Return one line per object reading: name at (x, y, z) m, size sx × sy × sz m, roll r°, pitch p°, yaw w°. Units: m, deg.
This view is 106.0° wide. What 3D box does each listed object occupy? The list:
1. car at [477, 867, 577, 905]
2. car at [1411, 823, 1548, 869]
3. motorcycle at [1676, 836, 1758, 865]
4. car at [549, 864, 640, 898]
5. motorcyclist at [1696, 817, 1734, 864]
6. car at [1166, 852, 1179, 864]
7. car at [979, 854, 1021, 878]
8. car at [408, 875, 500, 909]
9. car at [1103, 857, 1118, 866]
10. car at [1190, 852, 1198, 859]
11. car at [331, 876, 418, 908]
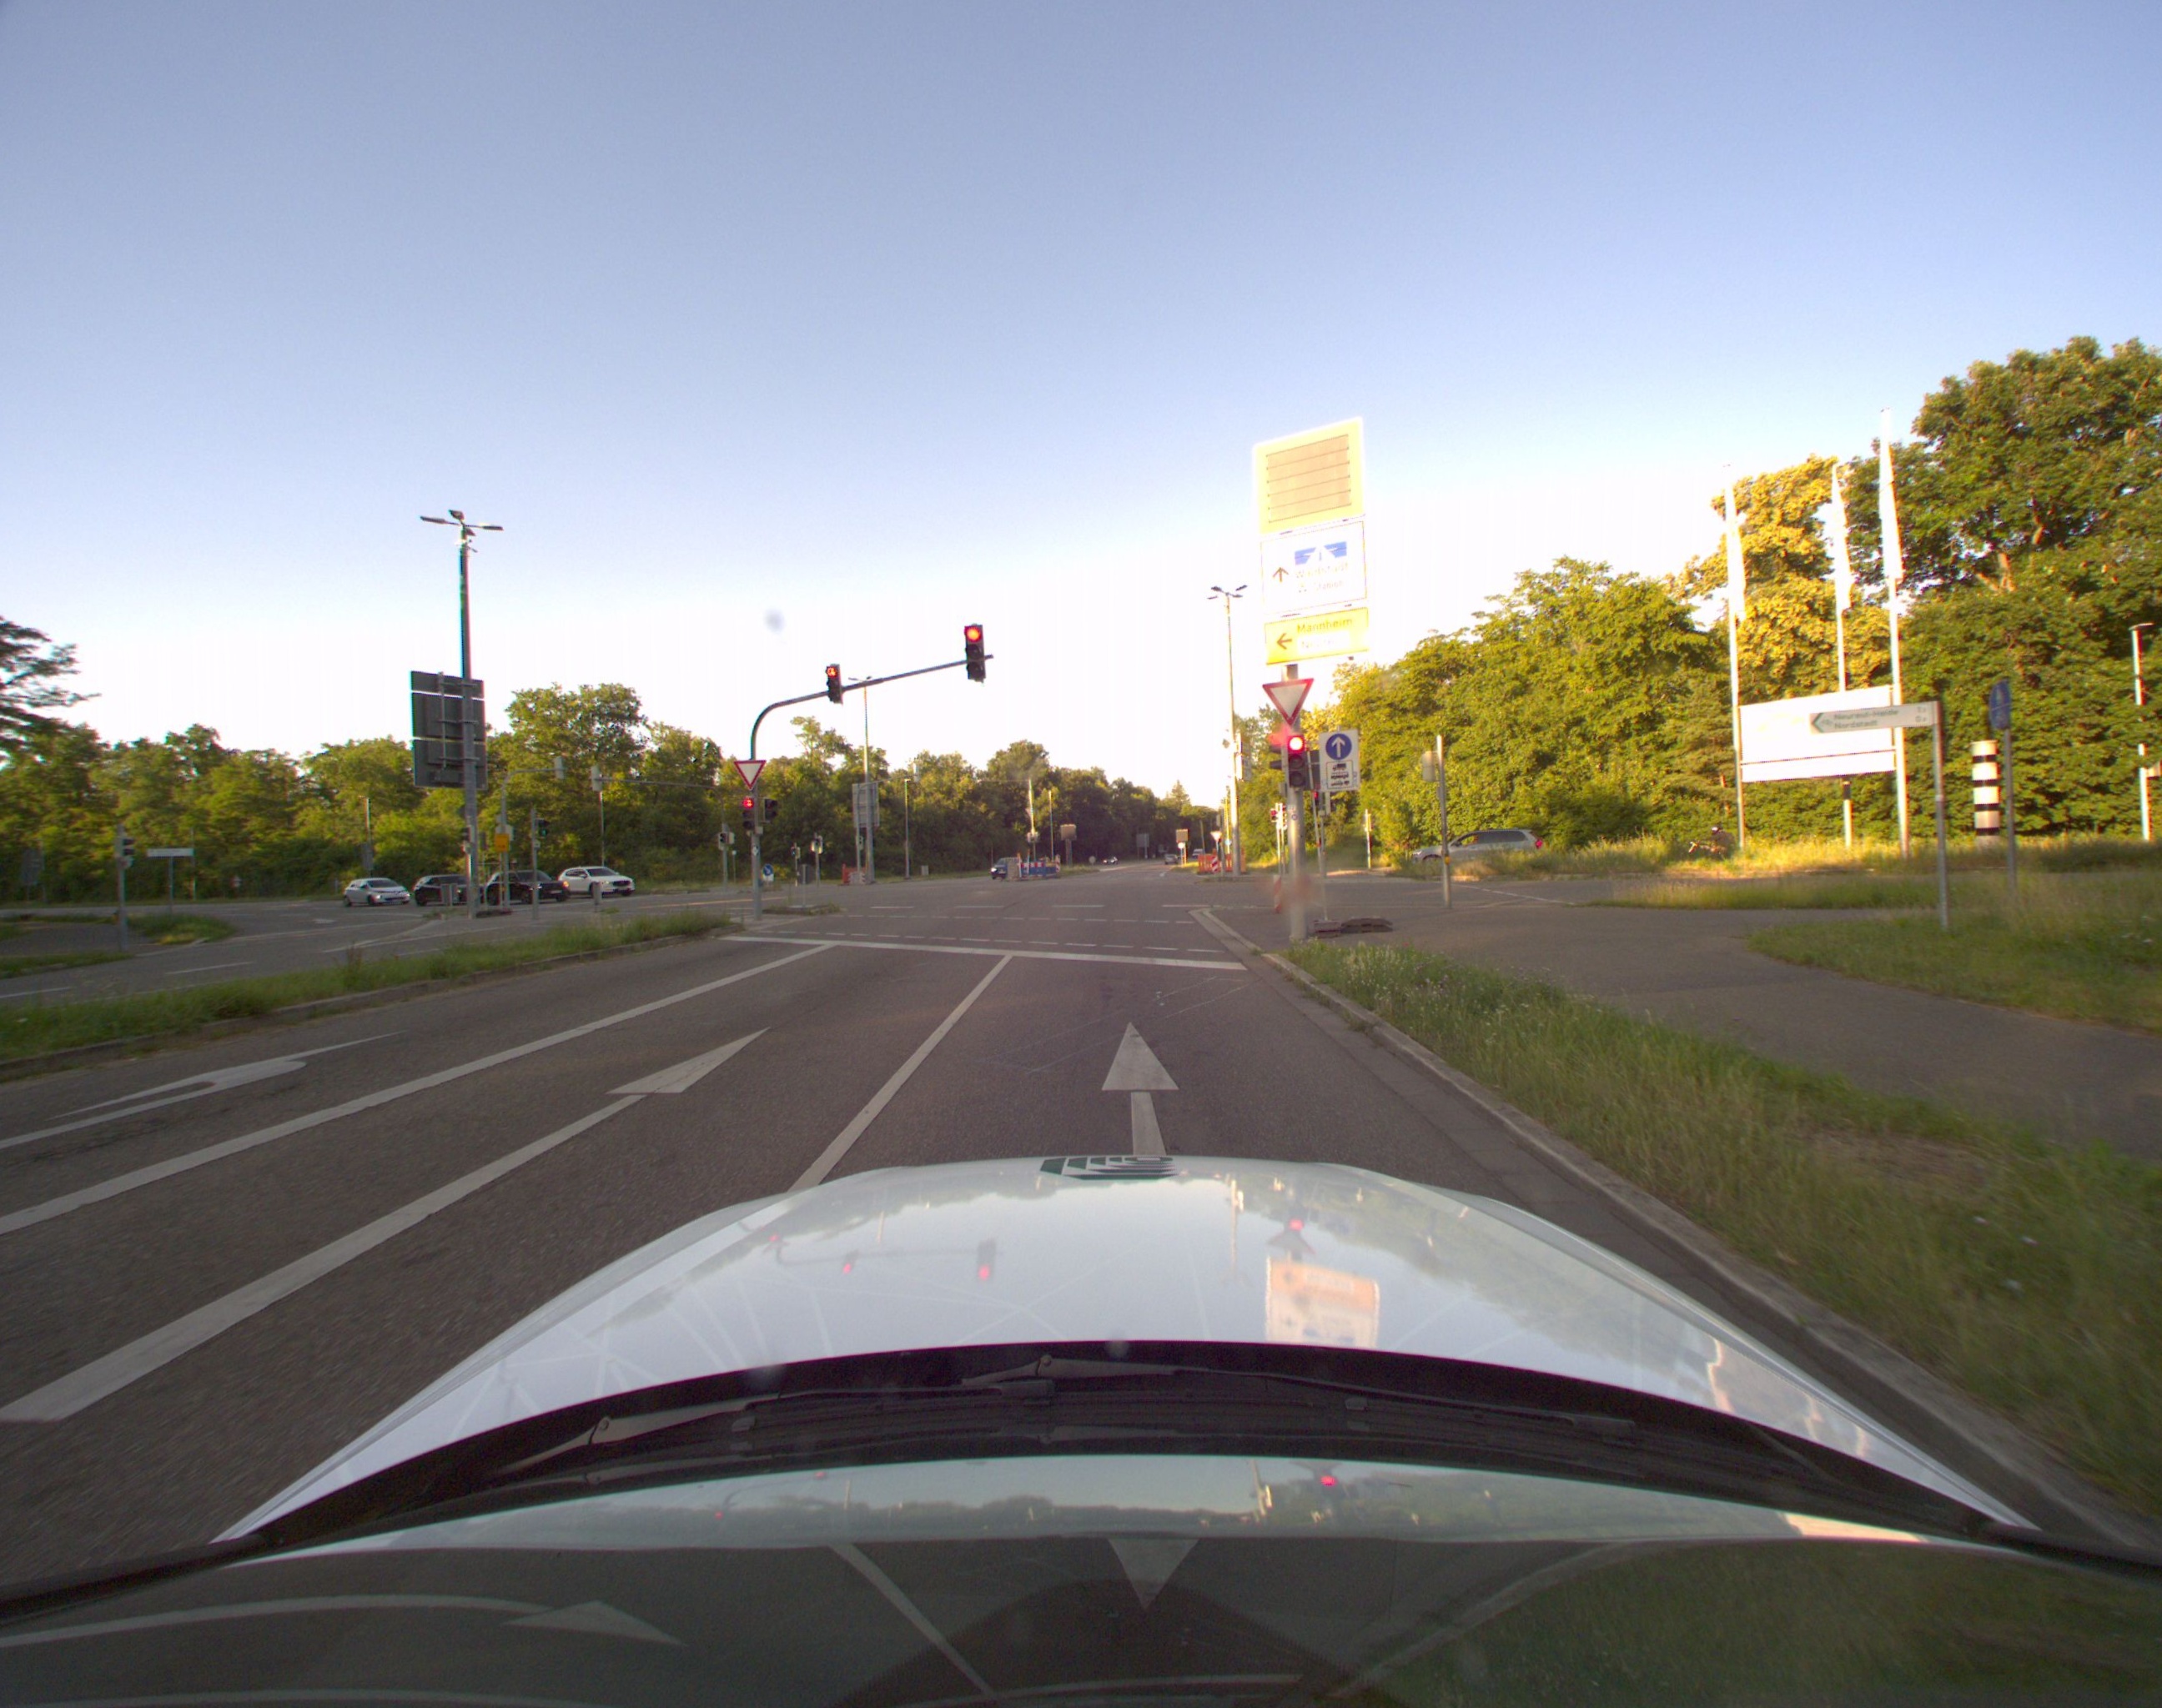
car at (-26.593, 1.534, 39.111) m, size 4.205 × 1.640 × 2.012 m, roll -2°, pitch 0°, yaw 24°
car at (15.911, -0.317, 32.746) m, size 4.772 × 1.598 × 2.011 m, roll -2°, pitch 0°, yaw 24°
motorcycle at (22.239, -0.119, 28.522) m, size 2.124 × 0.910 × 0.666 m, roll -2°, pitch 0°, yaw 24°
car at (-25.723, 1.440, 43.035) m, size 4.205 × 1.640 × 2.012 m, roll -2°, pitch 0°, yaw 24°
motorcyclist at (22.193, -0.453, 28.524) m, size 0.878 × 1.595 × 0.659 m, roll -2°, pitch 0°, yaw 24°
car at (13.811, 0.574, 123.014) m, size 1.983 × 1.618 × 4.007 m, roll -2°, pitch 0°, yaw 6°
car at (-5.577, 0.792, 56.674) m, size 1.983 × 1.529 × 4.686 m, roll -2°, pitch 0°, yaw 6°
car at (-32.891, 1.994, 42.716) m, size 4.205 × 1.640 × 2.012 m, roll -2°, pitch 0°, yaw 24°
car at (5.456, 1.299, 148.012) m, size 1.980 × 1.420 × 4.013 m, roll -2°, pitch 0°, yaw 12°
car at (32.460, 0.406, 233.636) m, size 1.986 × 2.014 × 4.001 m, roll 0°, pitch -1°, yaw 2°
car at (-40.148, 2.150, 46.303) m, size 4.206 × 1.640 × 2.011 m, roll -2°, pitch 0°, yaw 22°
